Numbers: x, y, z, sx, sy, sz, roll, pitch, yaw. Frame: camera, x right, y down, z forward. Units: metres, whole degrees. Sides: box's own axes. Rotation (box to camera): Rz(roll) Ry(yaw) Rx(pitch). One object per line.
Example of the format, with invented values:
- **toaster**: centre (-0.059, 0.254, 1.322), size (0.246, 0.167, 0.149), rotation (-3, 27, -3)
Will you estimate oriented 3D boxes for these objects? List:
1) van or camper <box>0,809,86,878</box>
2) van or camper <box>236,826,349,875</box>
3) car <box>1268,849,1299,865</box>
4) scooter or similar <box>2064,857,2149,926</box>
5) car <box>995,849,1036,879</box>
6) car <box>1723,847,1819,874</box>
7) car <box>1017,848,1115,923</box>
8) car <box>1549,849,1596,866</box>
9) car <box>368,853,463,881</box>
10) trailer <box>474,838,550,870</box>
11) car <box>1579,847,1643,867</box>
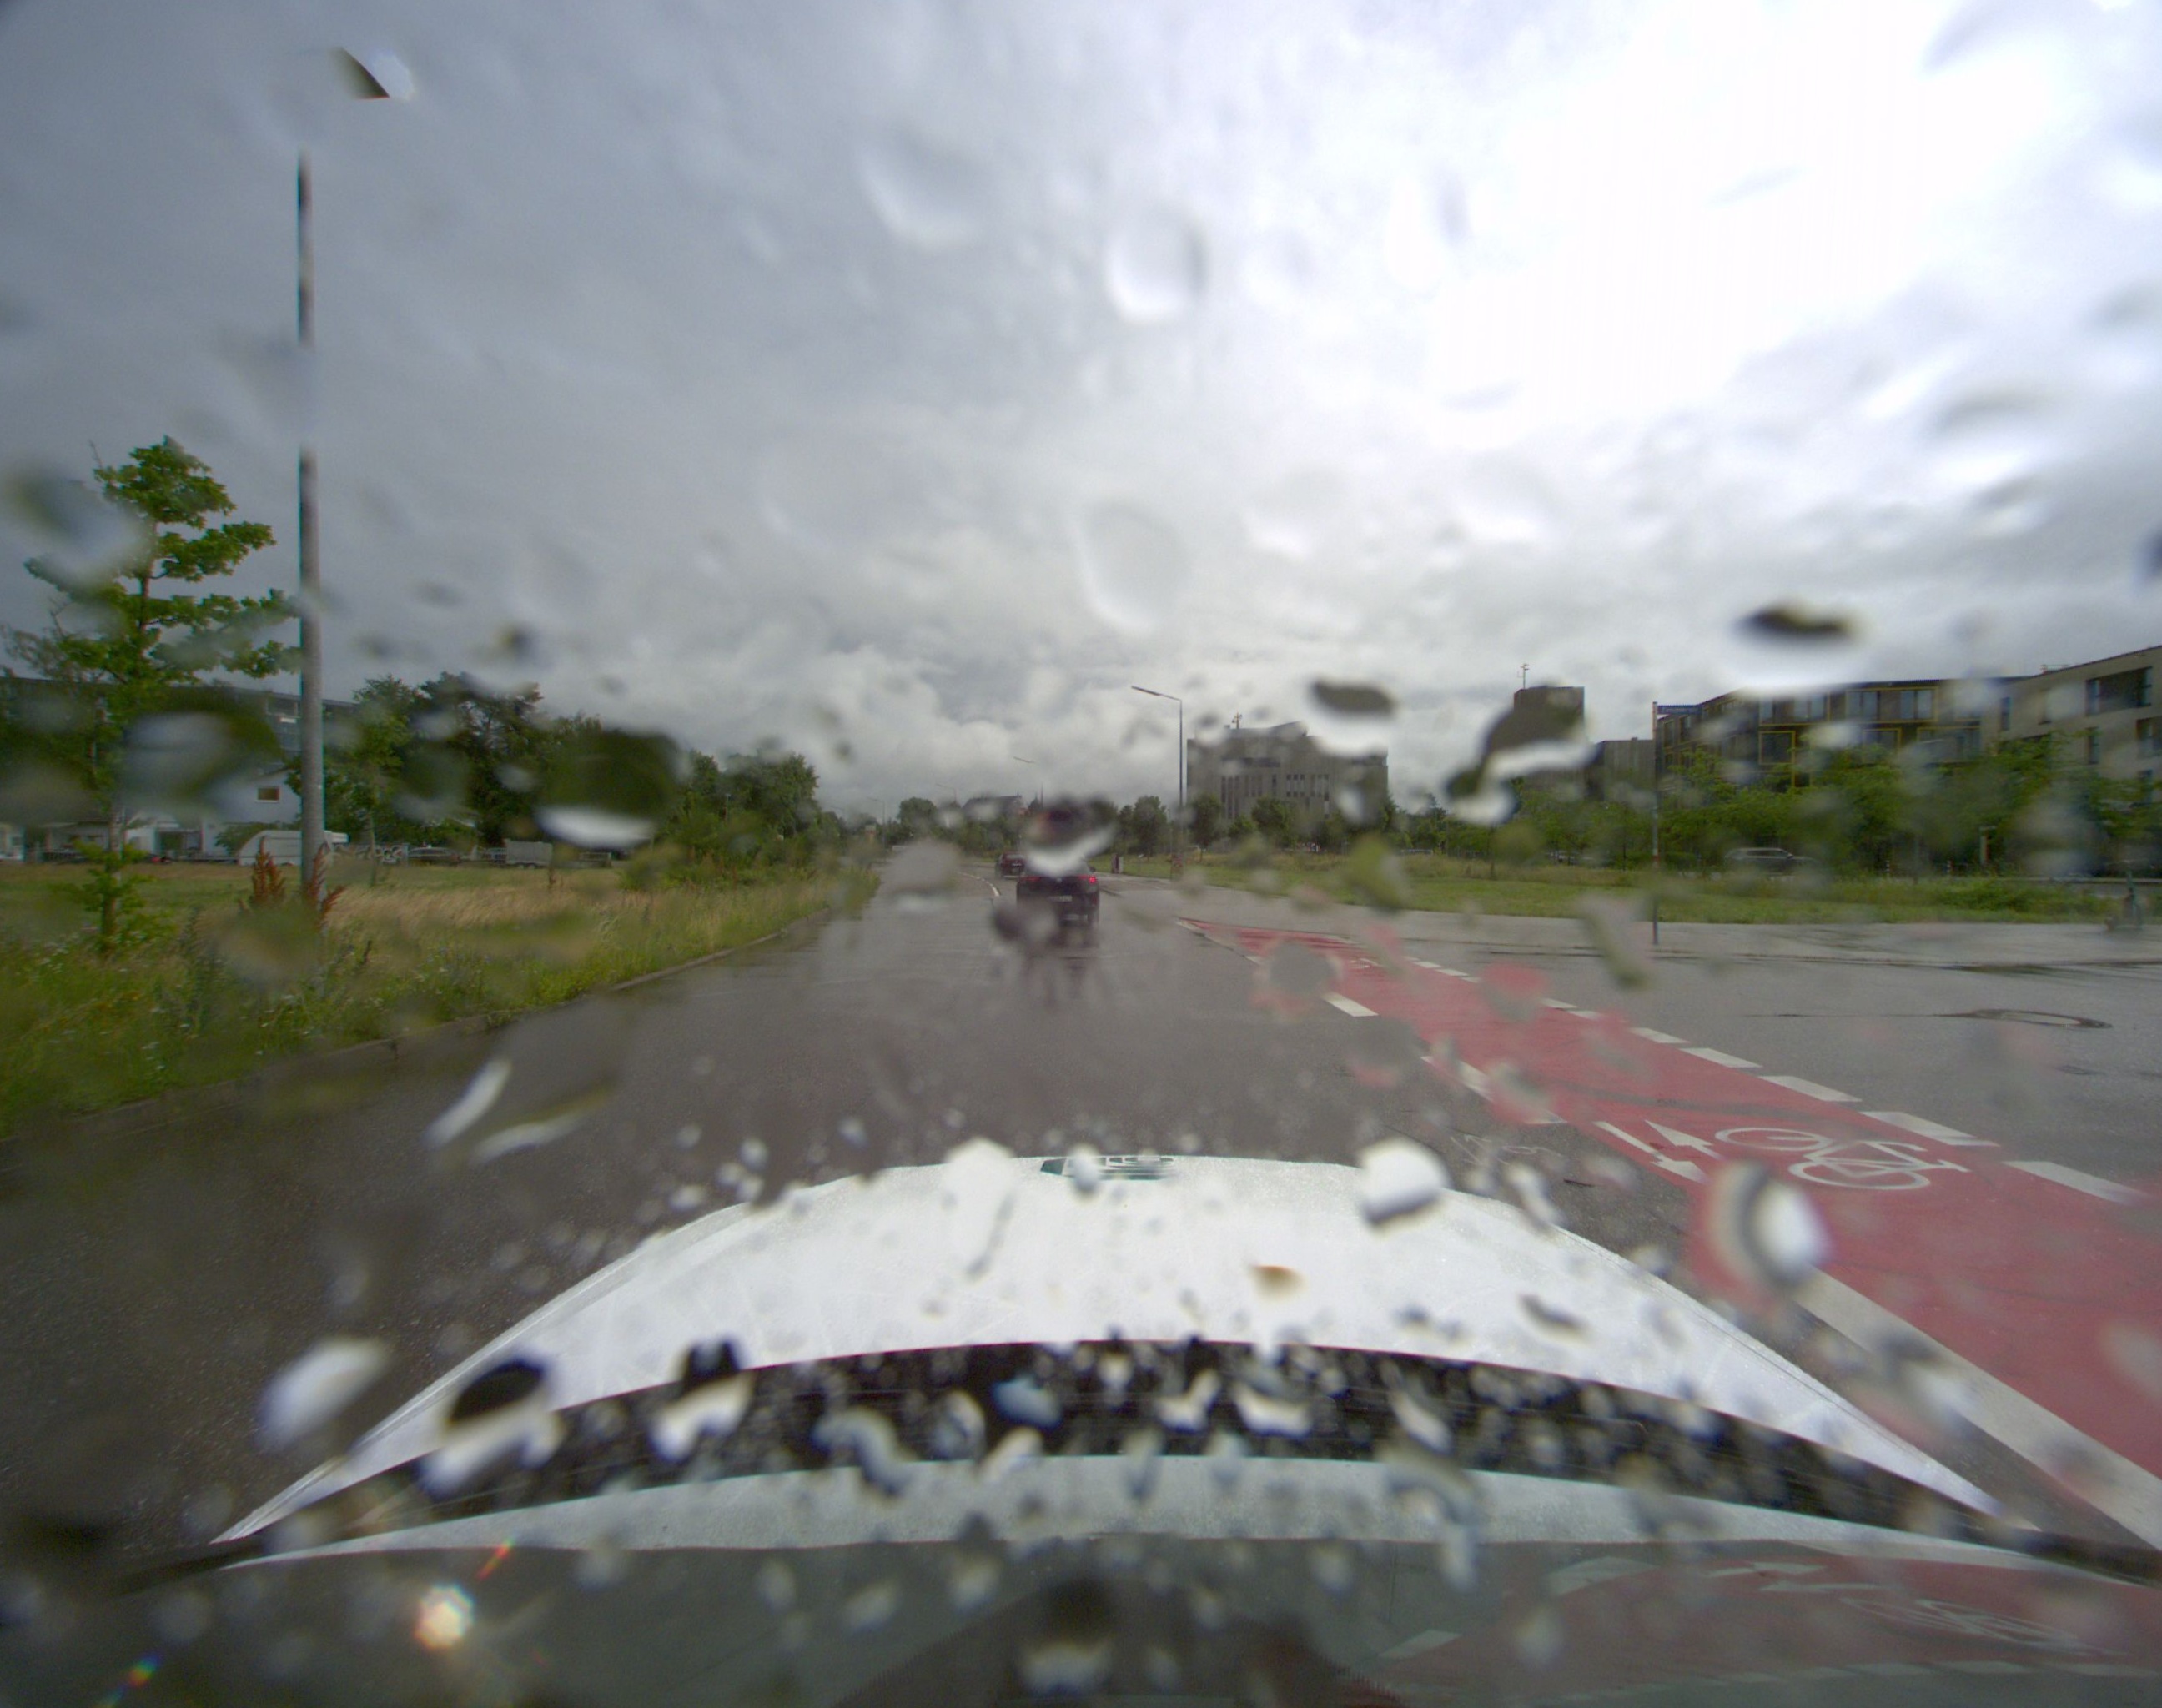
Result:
- **van or camper**: centre (-60.582, -0.580, 45.407), size (5.860, 3.744, 2.633), rotation (0, 0, -25)
- **van or camper**: centre (-49.525, -0.195, 51.311), size (4.523, 2.945, 2.464), rotation (0, 0, -25)
- **car**: centre (26.919, 0.399, 108.064), size (3.664, 2.014, 2.011), rotation (0, -1, 24)
- **scooter or similar**: centre (18.755, 0.672, 14.897), size (1.283, 1.187, 0.500), rotation (-1, 2, -16)
- **car**: centre (-3.630, 0.519, 44.394), size (1.841, 1.442, 3.986), rotation (-2, 0, -10)
- **car**: centre (42.401, 0.393, 50.143), size (4.172, 1.557, 1.674), rotation (-1, 0, 17)
- **car**: centre (-0.451, 0.629, 18.729), size (1.984, 1.520, 3.993), rotation (0, 0, -5)
- **car**: centre (50.993, 0.322, 84.558), size (3.955, 1.720, 1.777), rotation (0, 0, 18)
- **car**: centre (-44.171, 0.827, 54.179), size (4.526, 1.775, 1.984), rotation (0, 0, -25)
- **trailer**: centre (-39.768, 0.014, 57.031), size (4.122, 2.089, 1.828), rotation (2, -1, -27)
- **car**: centre (48.364, 0.285, 74.405), size (4.507, 1.762, 2.009), rotation (0, 0, 17)
